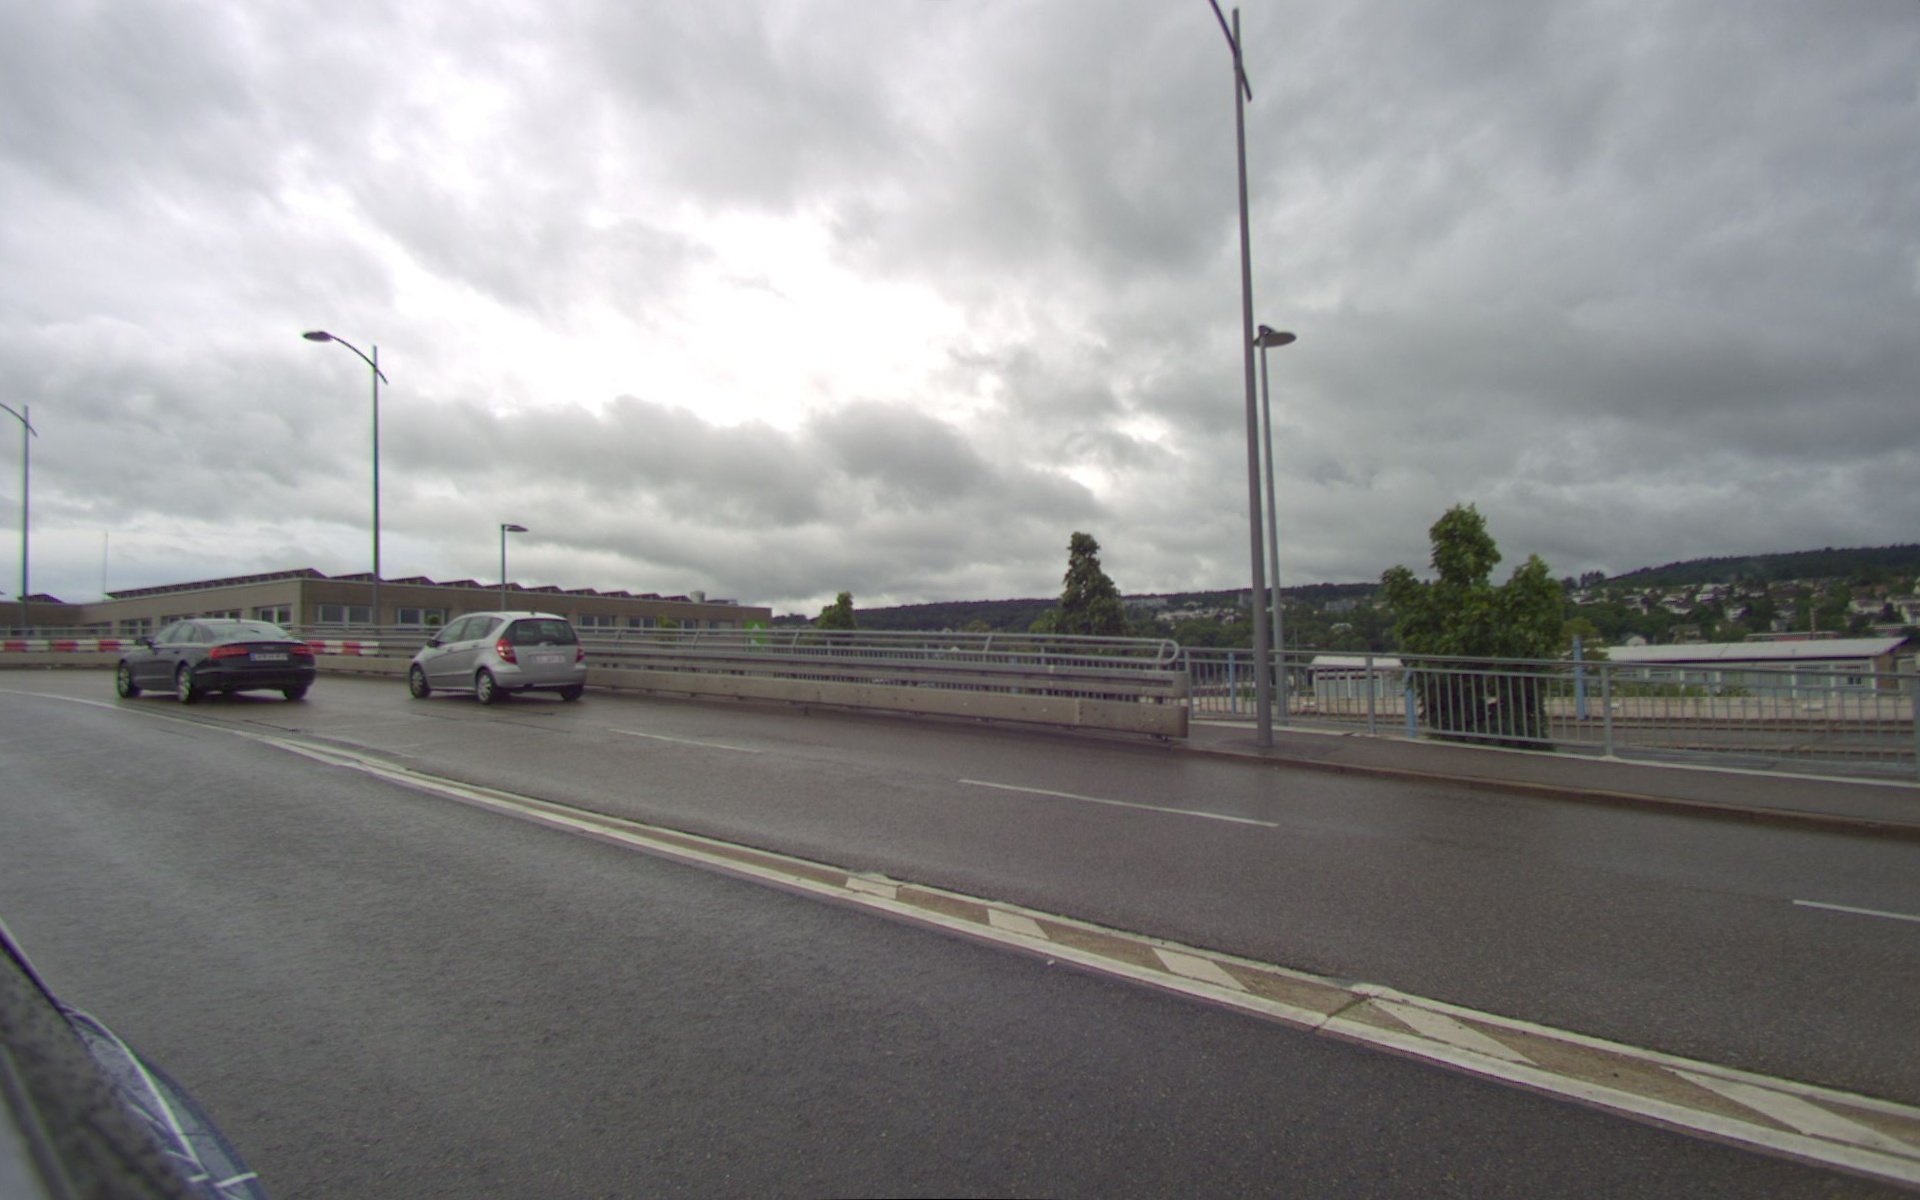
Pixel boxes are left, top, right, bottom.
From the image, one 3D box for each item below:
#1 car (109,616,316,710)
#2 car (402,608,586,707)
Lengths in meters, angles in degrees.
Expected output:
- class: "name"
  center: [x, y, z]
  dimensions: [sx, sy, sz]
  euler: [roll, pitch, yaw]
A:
- class: "car"
  center: [-13.554, 1.065, 18.278]
  dimensions: [4.447, 1.502, 1.653]
  euler: [0, -2, 35]
- class: "car"
  center: [-8.525, 0.986, 18.412]
  dimensions: [3.708, 1.621, 1.628]
  euler: [-1, -2, 41]
